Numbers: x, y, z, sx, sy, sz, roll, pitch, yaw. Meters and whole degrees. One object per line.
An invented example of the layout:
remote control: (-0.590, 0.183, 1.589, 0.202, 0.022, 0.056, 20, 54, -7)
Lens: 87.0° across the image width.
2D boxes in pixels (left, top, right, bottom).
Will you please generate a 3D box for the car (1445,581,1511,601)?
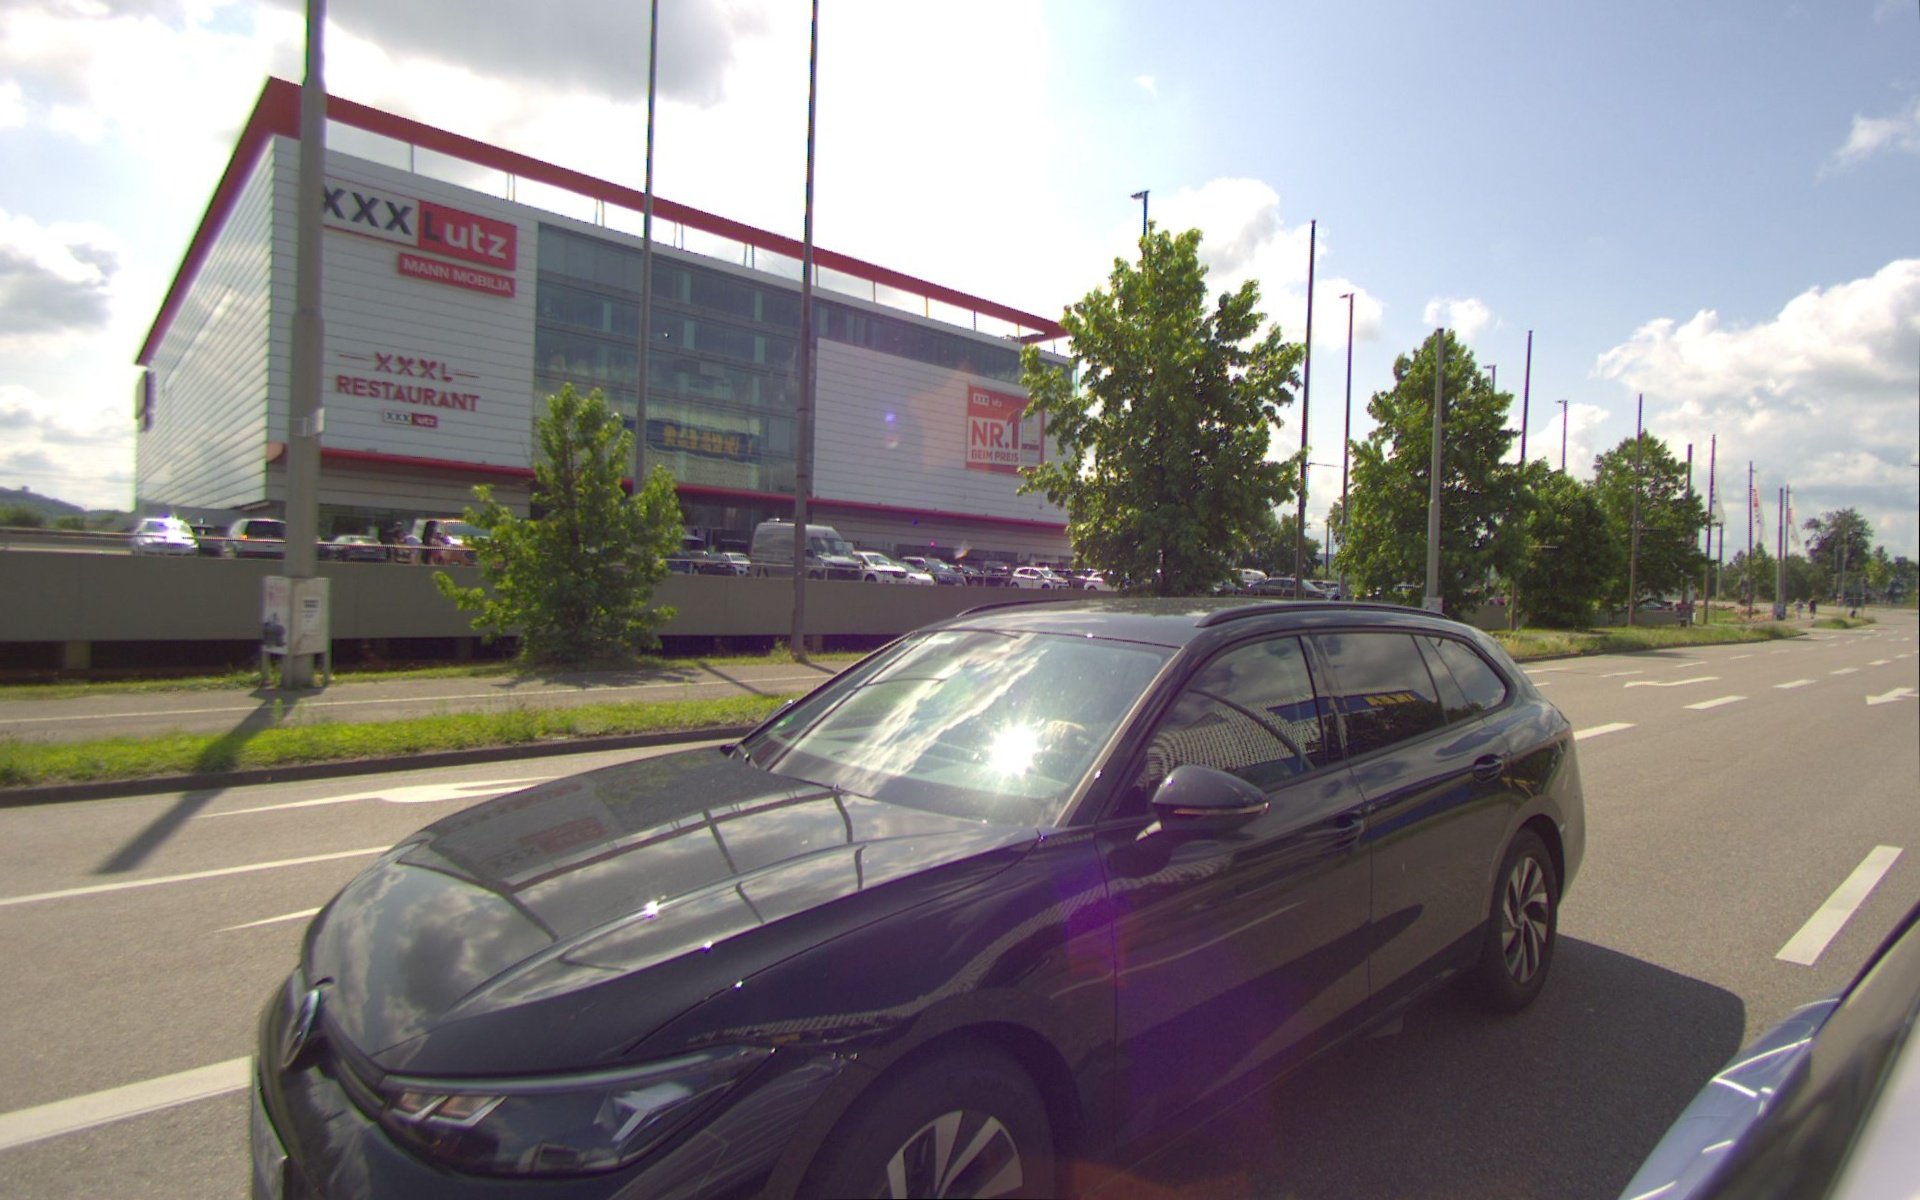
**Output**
car: (42.698, -0.760, 83.500, 1.921, 1.625, 4.416, 0, 1, -41)

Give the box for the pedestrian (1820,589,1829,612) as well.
pedestrian: (69.413, 0.040, 81.263, 0.524, 1.836, 0.668, 0, 0, 39)

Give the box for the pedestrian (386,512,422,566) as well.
pedestrian: (-18.971, -2.060, 34.530, 1.014, 1.764, 0.698, 0, 0, 36)

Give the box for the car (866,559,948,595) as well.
car: (-2.581, -1.061, 48.328, 1.917, 1.625, 4.425, 0, 1, -33)

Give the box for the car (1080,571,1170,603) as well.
car: (8.544, -0.673, 52.714, 1.921, 1.625, 4.416, 0, 1, -41)

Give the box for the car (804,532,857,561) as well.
car: (-8.156, -3.294, 63.251, 1.915, 1.625, 4.430, 0, 1, -27)

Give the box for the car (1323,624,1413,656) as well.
car: (23.550, 2.276, 58.511, 1.921, 1.625, 4.416, 0, 1, -41)

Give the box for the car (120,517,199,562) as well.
car: (-29.975, -2.203, 37.854, 1.922, 1.489, 4.412, 0, 1, -44)

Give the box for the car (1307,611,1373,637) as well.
car: (28.356, 1.783, 75.654, 1.534, 1.786, 4.412, 0, 0, -44)

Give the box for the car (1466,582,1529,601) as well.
car: (45.945, -0.733, 86.615, 1.921, 1.625, 4.416, 0, 1, -41)

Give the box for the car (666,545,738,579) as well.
car: (-13.392, -1.916, 52.315, 1.920, 1.625, 4.418, 0, 1, -40)

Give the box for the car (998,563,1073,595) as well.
car: (4.252, -1.175, 57.737, 1.534, 1.786, 4.412, 0, 0, -44)

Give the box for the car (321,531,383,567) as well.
car: (-27.832, -2.291, 46.280, 1.534, 1.489, 4.412, 0, 1, -44)

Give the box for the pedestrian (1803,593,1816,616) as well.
pedestrian: (68.602, 0.341, 81.735, 0.700, 1.836, 0.538, 0, 0, 36)

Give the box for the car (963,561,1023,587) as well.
car: (2.165, -1.705, 67.682, 1.916, 1.625, 4.428, 0, 1, -30)

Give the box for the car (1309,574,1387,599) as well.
car: (25.594, -0.900, 66.844, 1.921, 1.625, 4.416, 0, 1, -41)

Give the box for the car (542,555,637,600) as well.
car: (-14.170, -0.842, 38.553, 1.921, 1.625, 4.416, 0, 1, -41)

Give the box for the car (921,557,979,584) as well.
car: (-0.693, -1.813, 64.155, 1.915, 1.625, 4.430, 0, 1, -27)

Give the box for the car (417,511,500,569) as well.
car: (-17.228, -1.992, 34.687, 1.881, 1.772, 4.187, 0, 0, -36)

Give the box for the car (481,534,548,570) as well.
car: (-22.437, -2.381, 50.891, 1.920, 1.625, 4.418, 0, 1, -40)

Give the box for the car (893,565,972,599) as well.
car: (-1.424, -0.877, 50.665, 1.917, 1.625, 4.425, 0, 1, -33)

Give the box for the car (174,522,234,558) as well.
car: (-38.096, -2.987, 50.955, 1.922, 1.625, 4.412, 0, 1, -44)

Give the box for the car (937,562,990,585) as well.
car: (0.215, -1.906, 73.139, 1.916, 1.625, 4.428, 0, 1, -30)

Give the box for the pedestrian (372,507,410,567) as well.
pedestrian: (-19.690, -2.158, 35.015, 0.895, 2.039, 0.706, 0, 0, 4)

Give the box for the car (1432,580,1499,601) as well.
car: (40.383, -0.794, 80.967, 1.921, 1.625, 4.416, 0, 1, -41)

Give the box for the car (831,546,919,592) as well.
car: (-3.574, -1.254, 42.030, 1.718, 1.816, 3.995, 0, 0, -40)

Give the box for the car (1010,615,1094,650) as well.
car: (4.790, 1.665, 53.388, 1.919, 1.625, 4.420, 0, 1, -38)

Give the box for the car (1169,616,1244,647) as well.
car: (15.352, 1.929, 63.227, 1.534, 1.786, 4.412, 0, 0, -44)

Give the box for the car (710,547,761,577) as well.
car: (-13.253, -2.198, 59.523, 1.915, 1.625, 4.430, 0, 1, -27)

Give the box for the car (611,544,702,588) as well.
car: (-12.109, -1.321, 40.250, 1.920, 1.625, 4.418, 0, 1, -40)

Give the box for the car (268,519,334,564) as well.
car: (-29.065, -2.521, 44.584, 1.883, 1.772, 3.993, -1, 0, -41)

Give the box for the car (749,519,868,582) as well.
car: (-6.179, -1.898, 40.597, 1.720, 2.312, 5.784, 0, 0, -44)

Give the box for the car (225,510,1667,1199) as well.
car: (0.672, 0.631, 3.539, 5.114, 1.496, 1.811, 0, 1, -42)

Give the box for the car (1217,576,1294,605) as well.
car: (16.986, -0.539, 58.284, 1.746, 1.624, 3.996, 0, 0, -39)

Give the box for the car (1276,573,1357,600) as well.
car: (22.447, -0.854, 63.836, 1.921, 1.625, 4.416, 0, 1, -41)

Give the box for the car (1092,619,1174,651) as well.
car: (9.966, 1.996, 58.505, 1.922, 1.625, 4.414, 0, 1, -43)

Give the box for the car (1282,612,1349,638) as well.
car: (25.598, 1.780, 72.971, 1.534, 1.786, 4.412, 0, 0, -44)

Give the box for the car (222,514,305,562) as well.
car: (-26.612, -2.306, 38.611, 1.922, 1.625, 4.412, 0, 1, -44)
